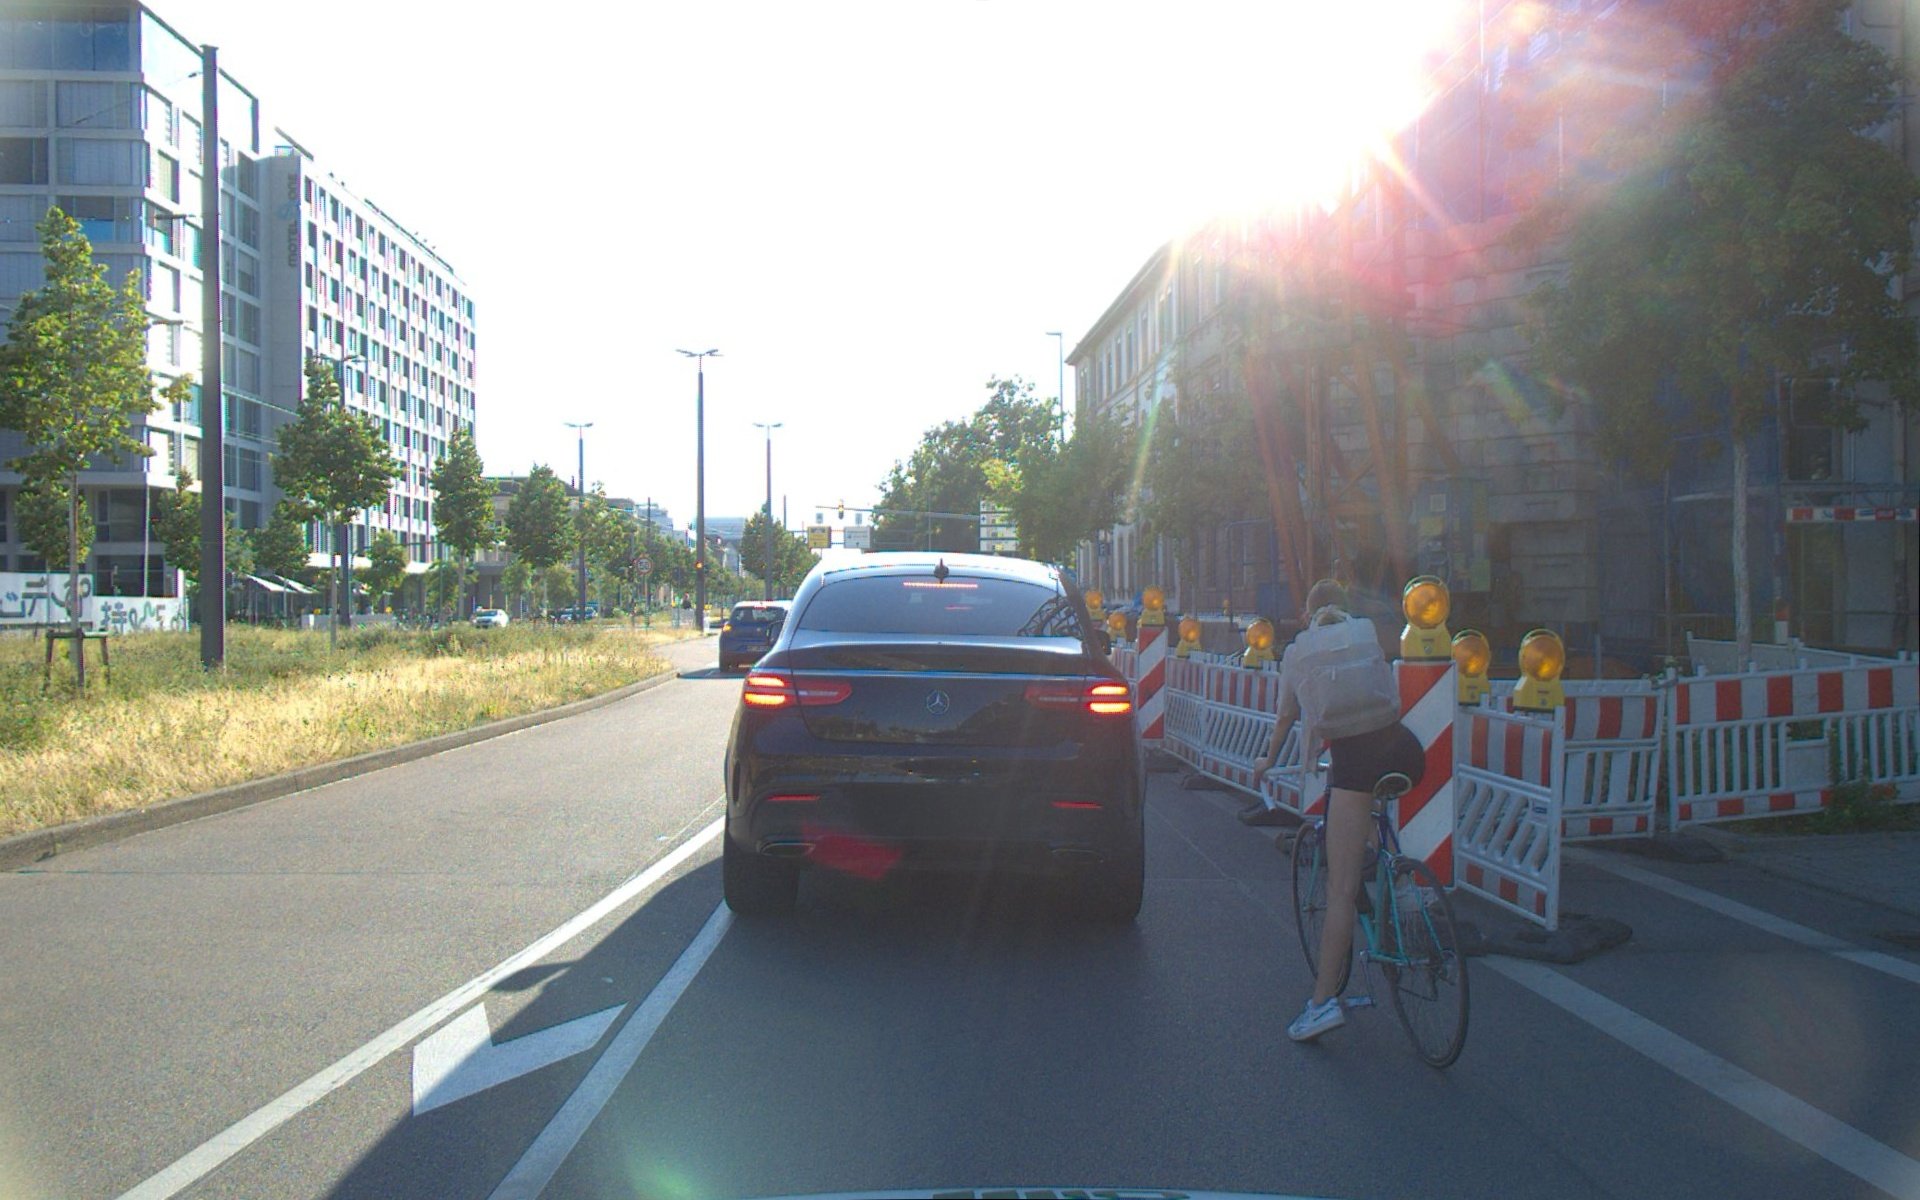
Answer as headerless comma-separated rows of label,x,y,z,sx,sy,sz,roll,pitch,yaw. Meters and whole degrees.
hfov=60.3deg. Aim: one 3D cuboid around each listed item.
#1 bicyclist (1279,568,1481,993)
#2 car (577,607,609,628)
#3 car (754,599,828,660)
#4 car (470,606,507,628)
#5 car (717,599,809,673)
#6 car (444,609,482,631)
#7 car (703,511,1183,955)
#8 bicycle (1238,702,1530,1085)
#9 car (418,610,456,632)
bicyclist,1.470,0.608,5.853,0.512,1.420,0.614,1,-1,-4
car,-26.885,1.289,121.313,1.674,1.467,3.580,1,0,-3
car,-4.313,0.729,42.614,1.674,1.467,3.580,1,0,-3
car,-32.763,1.164,115.074,1.674,1.467,3.580,1,0,-3
car,-4.152,0.739,35.239,1.674,1.467,3.580,1,0,-3
car,-35.041,1.408,116.661,1.674,1.467,3.580,1,0,-3
car,-0.095,0.557,8.820,1.953,1.803,3.999,1,0,-1
bicycle,1.451,0.957,5.952,0.502,1.070,1.724,1,0,-3
car,-36.975,1.490,116.980,1.674,1.467,3.580,1,0,-3
